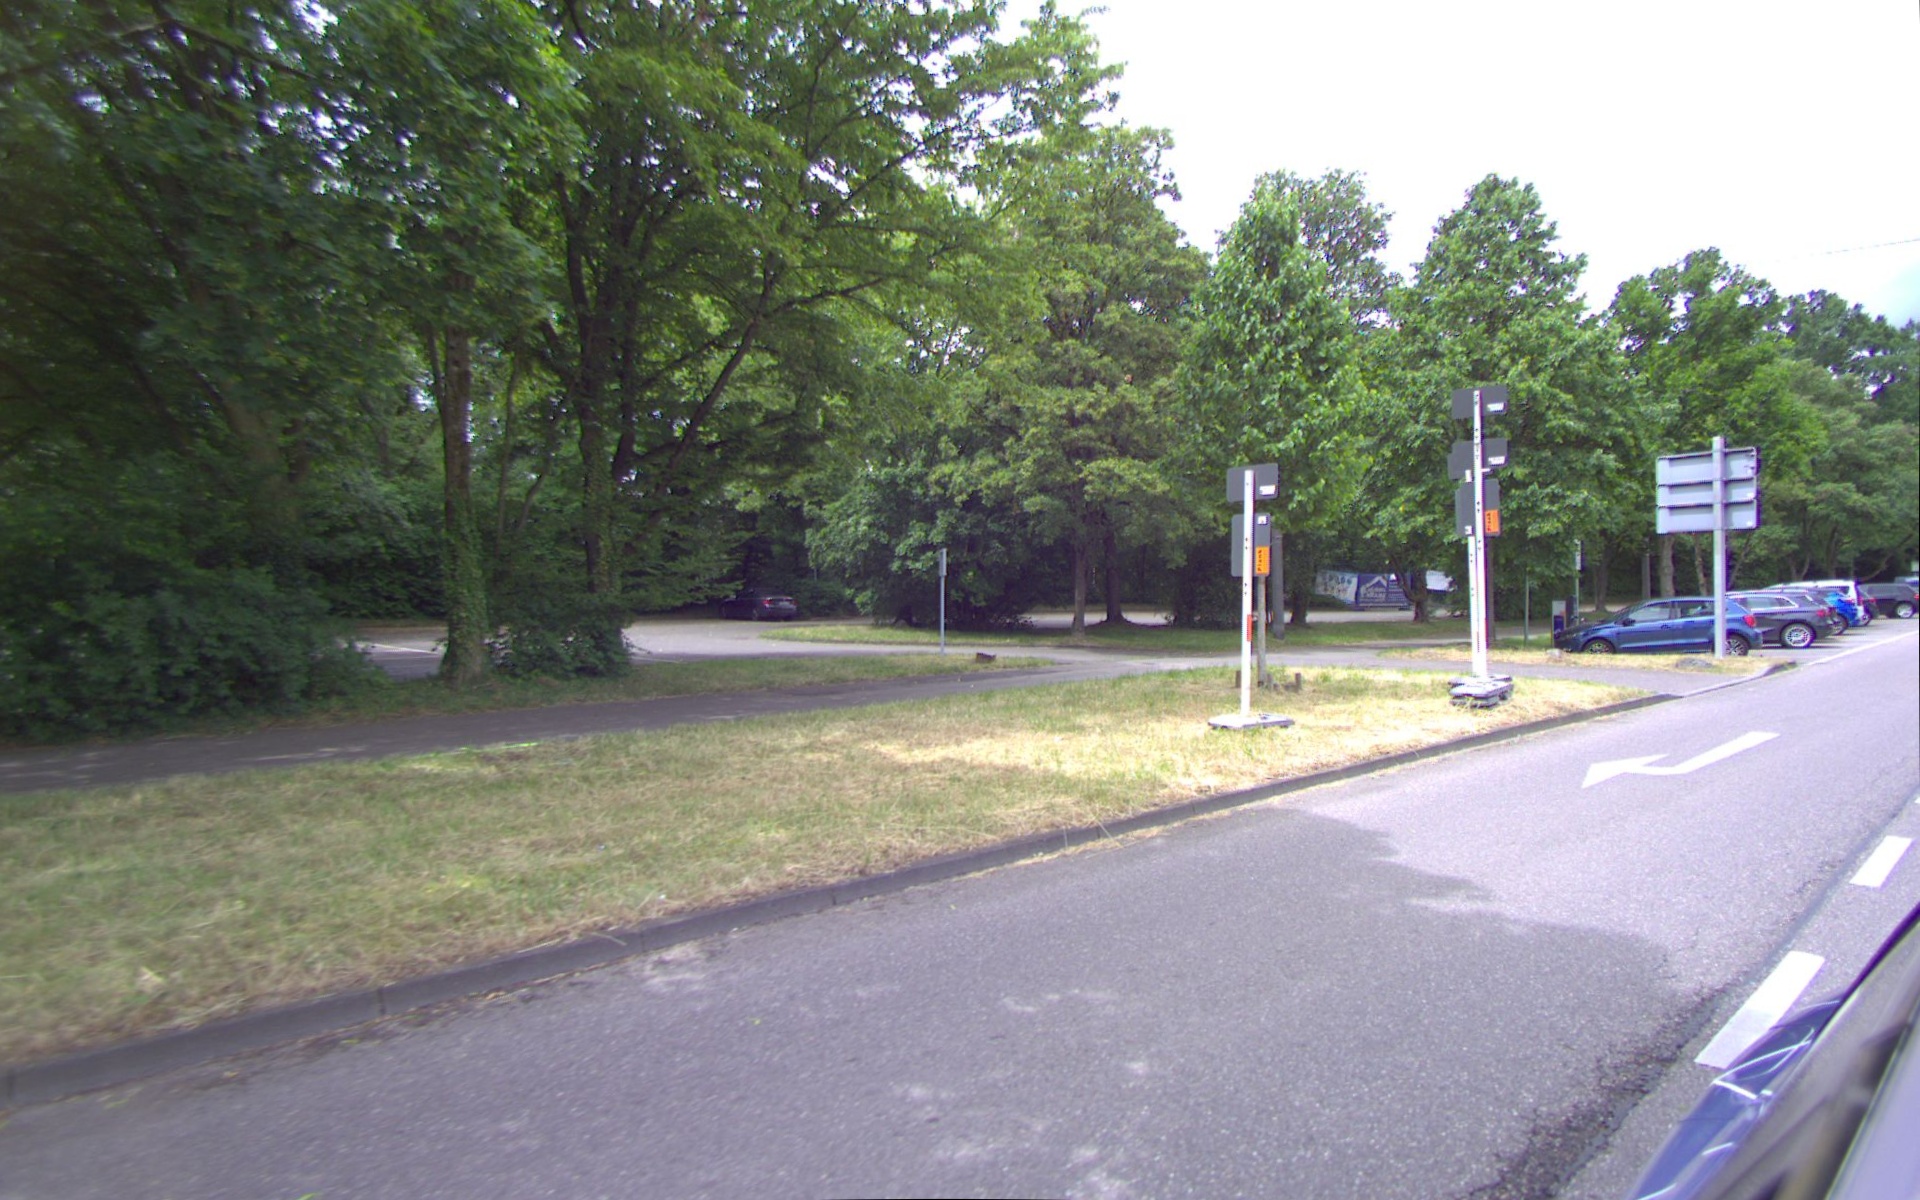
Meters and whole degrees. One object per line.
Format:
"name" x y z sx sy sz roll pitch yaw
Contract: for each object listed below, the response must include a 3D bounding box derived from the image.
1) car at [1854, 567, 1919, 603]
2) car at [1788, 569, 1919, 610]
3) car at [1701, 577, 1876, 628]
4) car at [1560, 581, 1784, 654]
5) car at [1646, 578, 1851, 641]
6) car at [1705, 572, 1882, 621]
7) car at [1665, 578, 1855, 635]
"car" 44.551 -0.681 47.040 4.398 1.629 1.971 0 0 41
"car" 37.446 -0.401 42.161 4.389 1.629 1.975 0 0 35
"car" 25.758 0.041 31.654 3.968 1.505 1.897 0 1 32
"car" 16.039 0.346 23.081 3.964 1.504 1.900 0 2 29
"car" 20.259 0.213 26.251 3.968 1.505 1.897 0 1 32
"car" 28.997 -0.113 35.413 4.374 1.629 1.982 0 0 27
"car" 22.439 0.145 28.605 3.968 1.505 1.897 0 1 32
